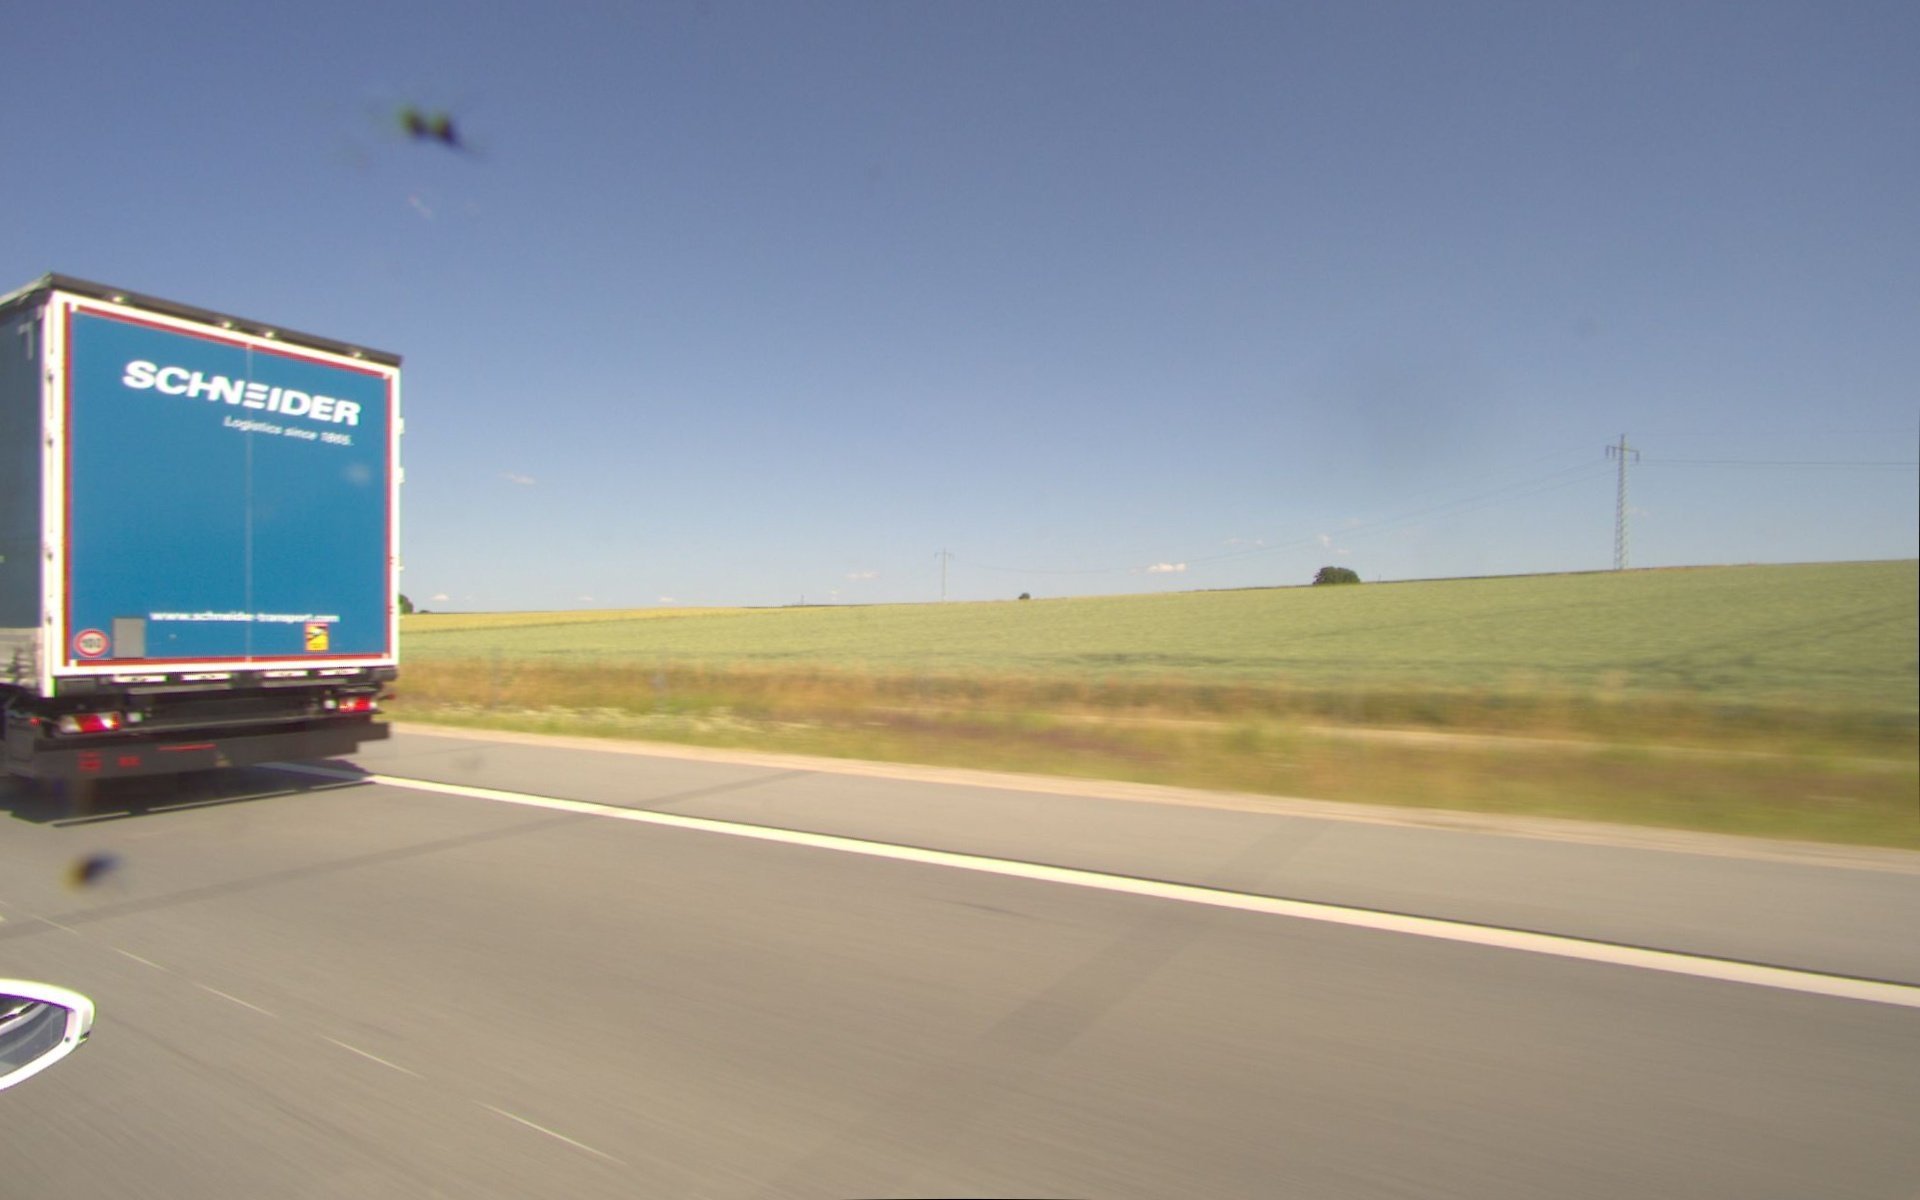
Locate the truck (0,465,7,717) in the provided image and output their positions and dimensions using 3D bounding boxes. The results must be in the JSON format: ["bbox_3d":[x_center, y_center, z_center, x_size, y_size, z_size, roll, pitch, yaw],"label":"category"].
[{"bbox_3d":[-18.832,-0.111,16.443,6.098,4.067,3.077,-1,0,31],"label":"truck"}]

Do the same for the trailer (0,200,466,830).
[{"bbox_3d":[-12.056,-0.464,12.289,15.235,4.350,3.171,-1,0,32],"label":"trailer"}]
